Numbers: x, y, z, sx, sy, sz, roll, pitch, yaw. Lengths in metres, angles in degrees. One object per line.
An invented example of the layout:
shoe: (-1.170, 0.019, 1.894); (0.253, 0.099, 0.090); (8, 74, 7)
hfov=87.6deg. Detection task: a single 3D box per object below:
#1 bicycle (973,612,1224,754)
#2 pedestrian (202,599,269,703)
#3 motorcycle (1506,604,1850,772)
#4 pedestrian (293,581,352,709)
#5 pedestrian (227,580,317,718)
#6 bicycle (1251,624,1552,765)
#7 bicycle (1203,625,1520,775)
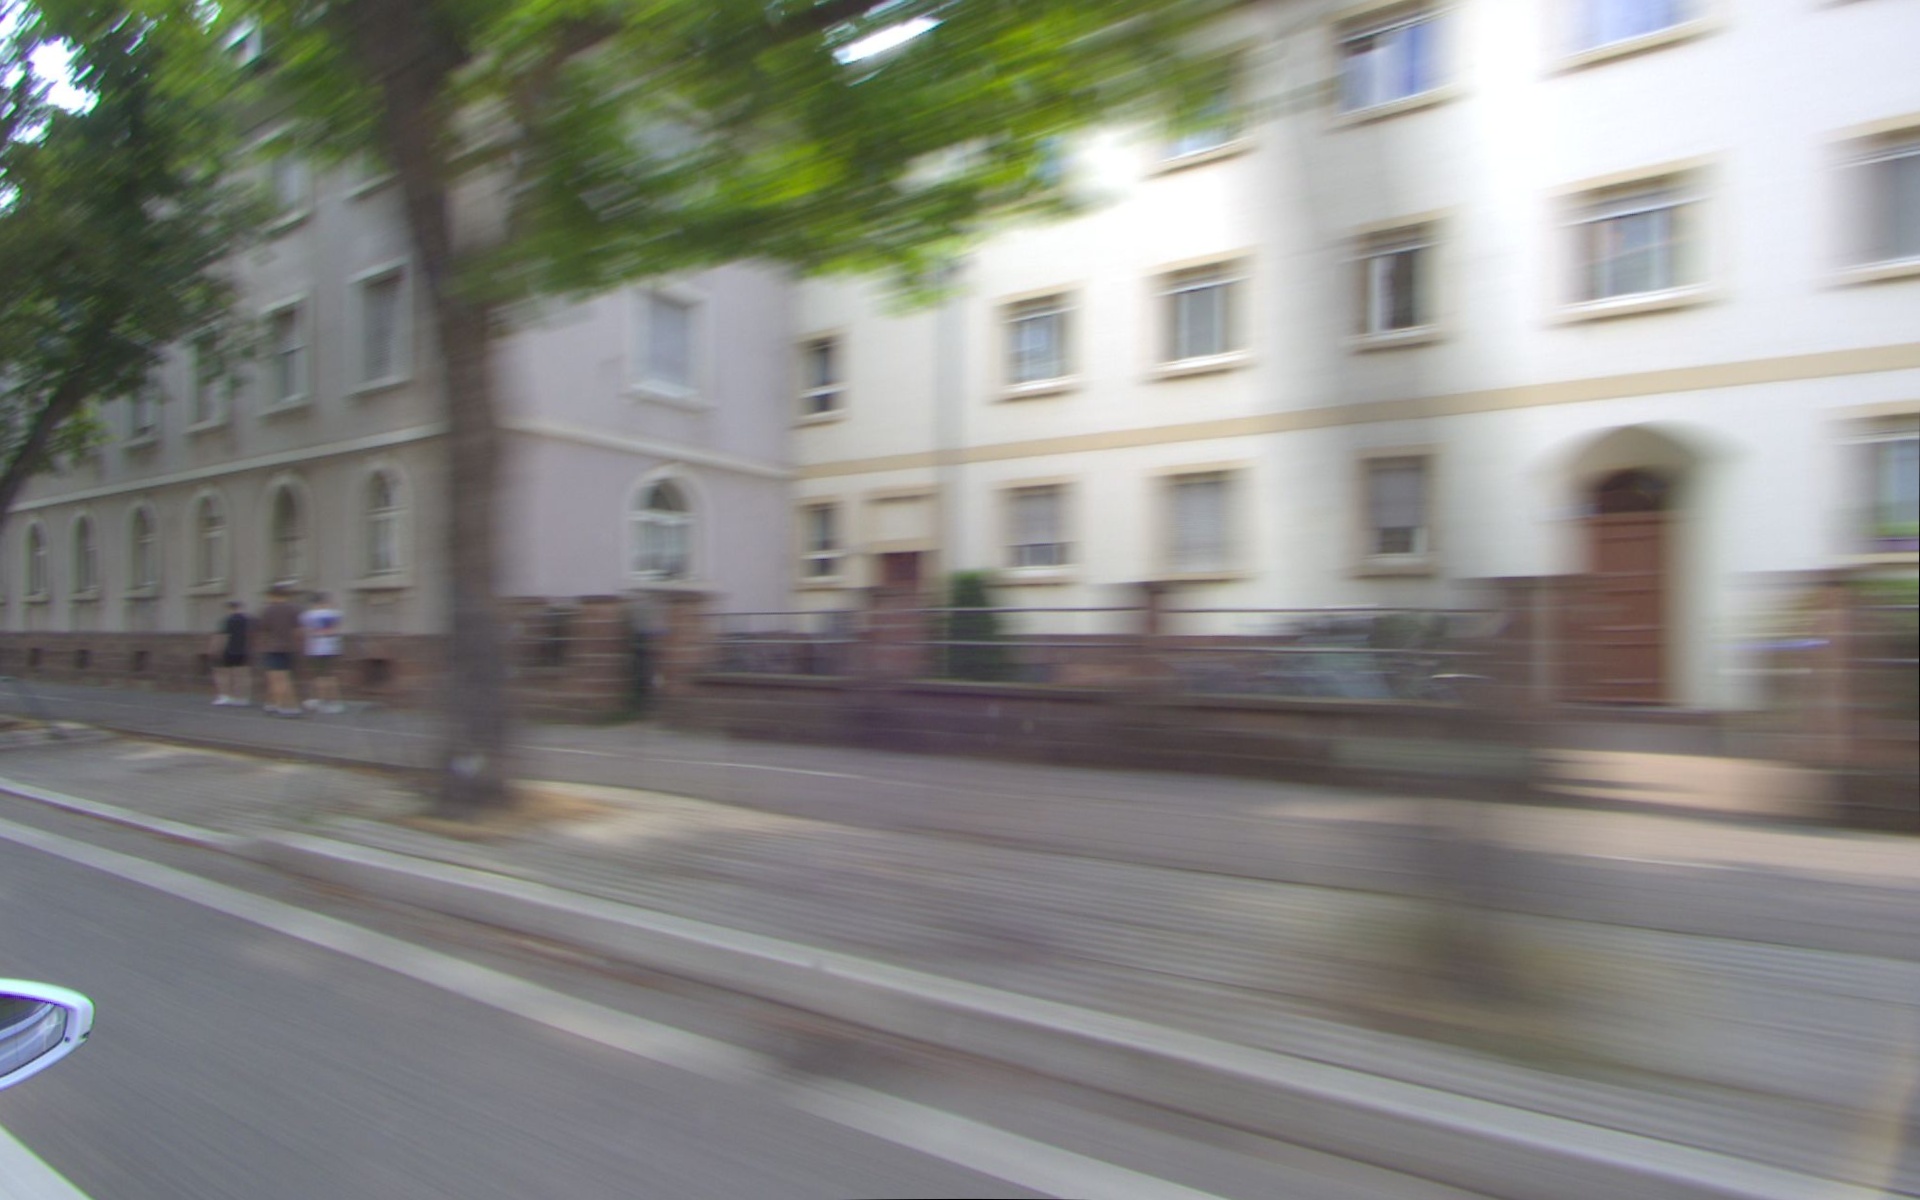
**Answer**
bicycle: (1.390, 0.824, 10.446); (2.562, 1.335, 0.651); (-1, -2, 33)
pedestrian: (-11.939, 0.827, 16.500); (0.962, 1.661, 0.579); (0, -1, 32)
motorcycle: (6.703, 0.788, 9.558); (2.562, 1.432, 0.749); (-1, -2, 33)
pedestrian: (-9.628, 0.671, 15.124); (0.677, 1.876, 0.503); (0, -1, 32)
pedestrian: (-9.913, 0.678, 14.433); (0.873, 1.914, 0.752); (0, 1, 32)
bicycle: (4.154, 0.847, 9.561); (2.562, 1.206, 0.651); (-1, -2, 33)
bicycle: (3.538, 0.840, 8.995); (2.562, 1.206, 0.651); (-1, -2, 33)
